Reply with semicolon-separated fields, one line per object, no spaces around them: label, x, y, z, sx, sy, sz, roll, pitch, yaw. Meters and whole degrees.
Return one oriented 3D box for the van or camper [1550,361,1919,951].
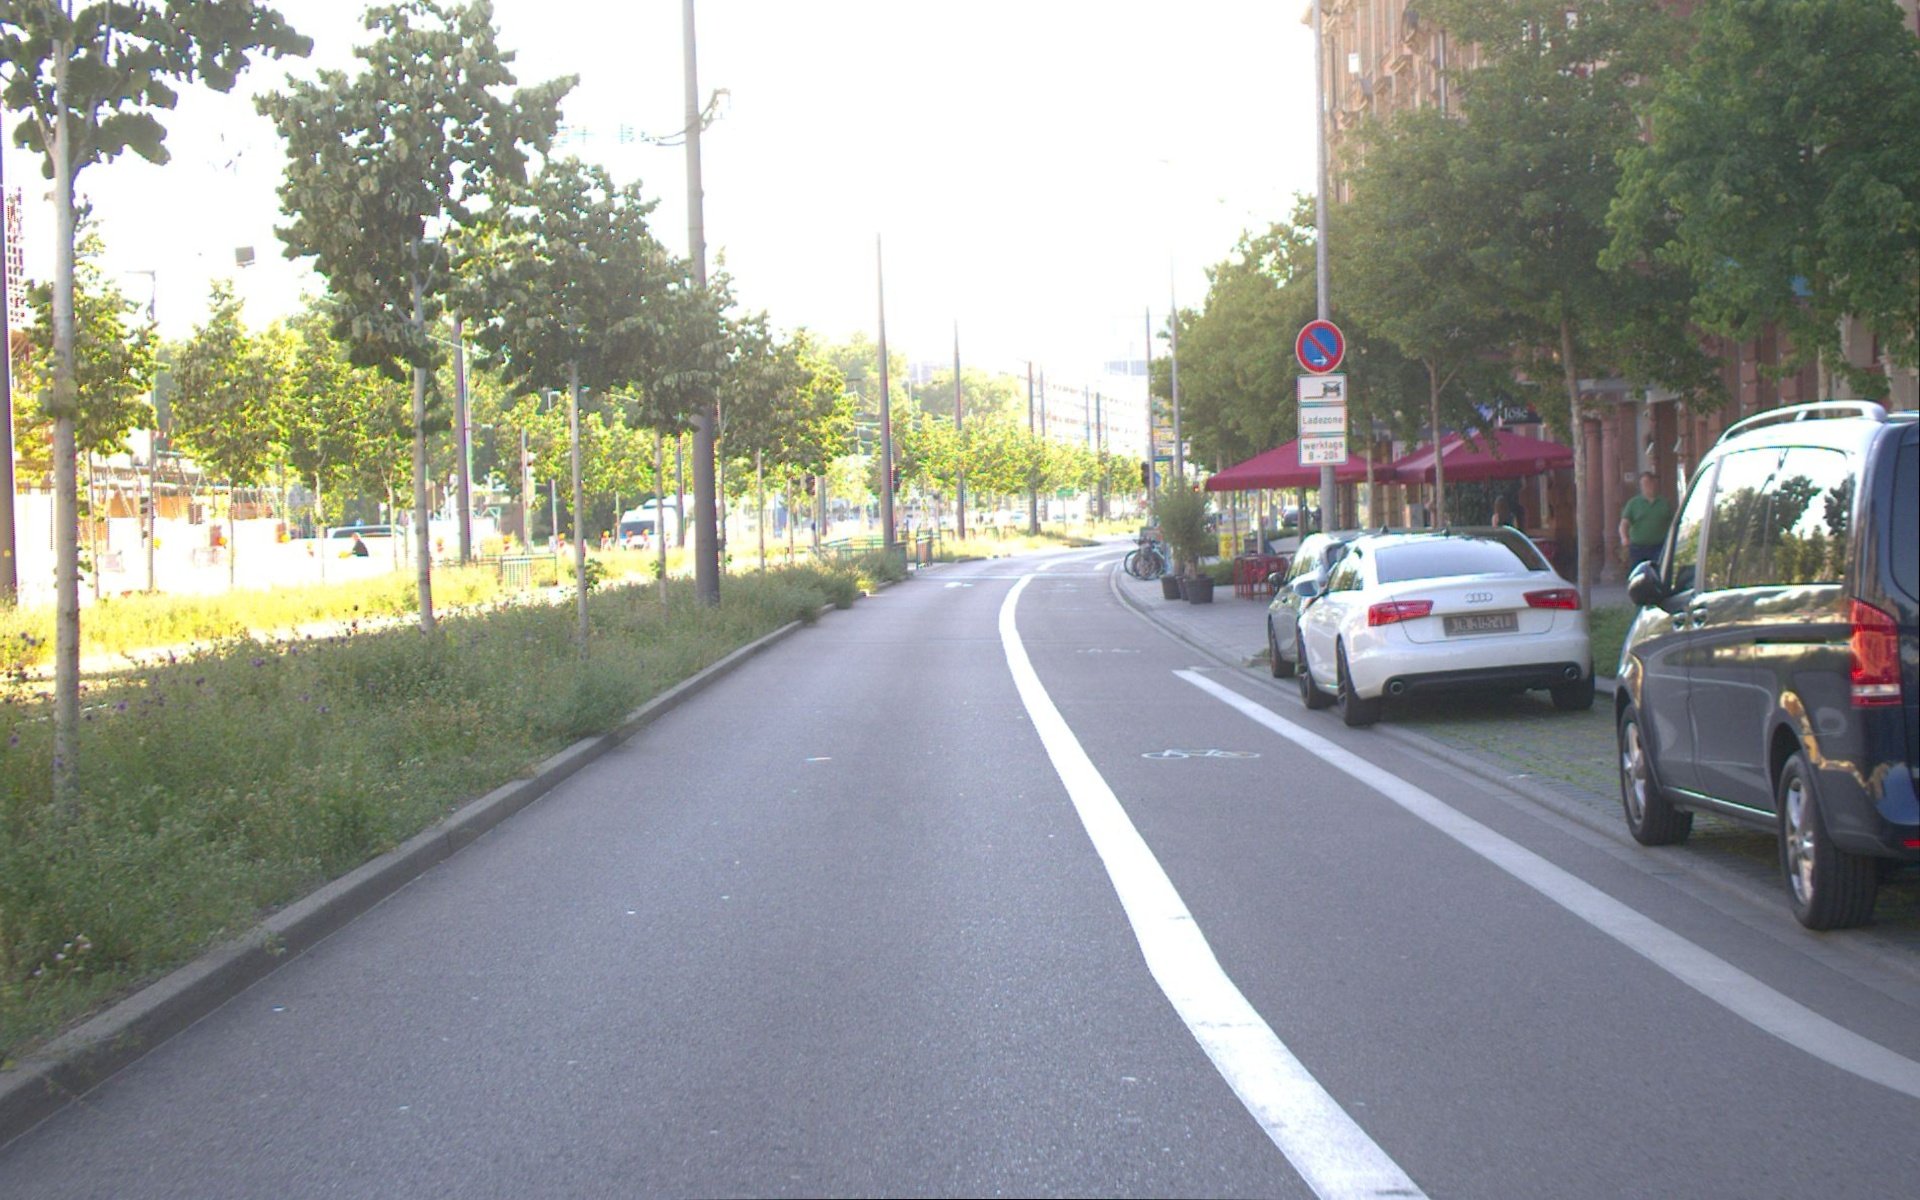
van or camper;3.912;0.073;14.274;1.961;1.965;5.488;-3;1;1

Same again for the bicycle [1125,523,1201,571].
bicycle;5.137;-1.336;86.938;1.845;1.100;0.566;-4;1;7

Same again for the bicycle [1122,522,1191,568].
bicycle;5.219;-1.456;91.314;1.754;1.100;0.507;-4;1;7

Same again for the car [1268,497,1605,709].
car;3.708;-0.044;27.669;1.848;1.449;5.253;-3;2;-1

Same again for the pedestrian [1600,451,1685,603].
pedestrian;8.075;-0.862;40.711;0.747;1.748;1.072;-2;1;1

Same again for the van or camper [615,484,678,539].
van or camper;-15.313;-4.355;168.281;2.221;2.501;7.201;-3;2;1

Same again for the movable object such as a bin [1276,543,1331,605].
movable object such as a bin;5.431;-0.410;54.290;0.676;0.921;0.560;-4;0;21

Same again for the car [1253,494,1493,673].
car;4.009;-0.209;34.000;1.849;1.559;4.297;-3;1;1

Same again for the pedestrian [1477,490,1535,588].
pedestrian;8.758;-0.980;55.202;0.728;1.528;0.797;-3;1;1

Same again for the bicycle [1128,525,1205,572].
bicycle;5.130;-1.274;85.273;1.805;1.044;0.566;-4;1;7
